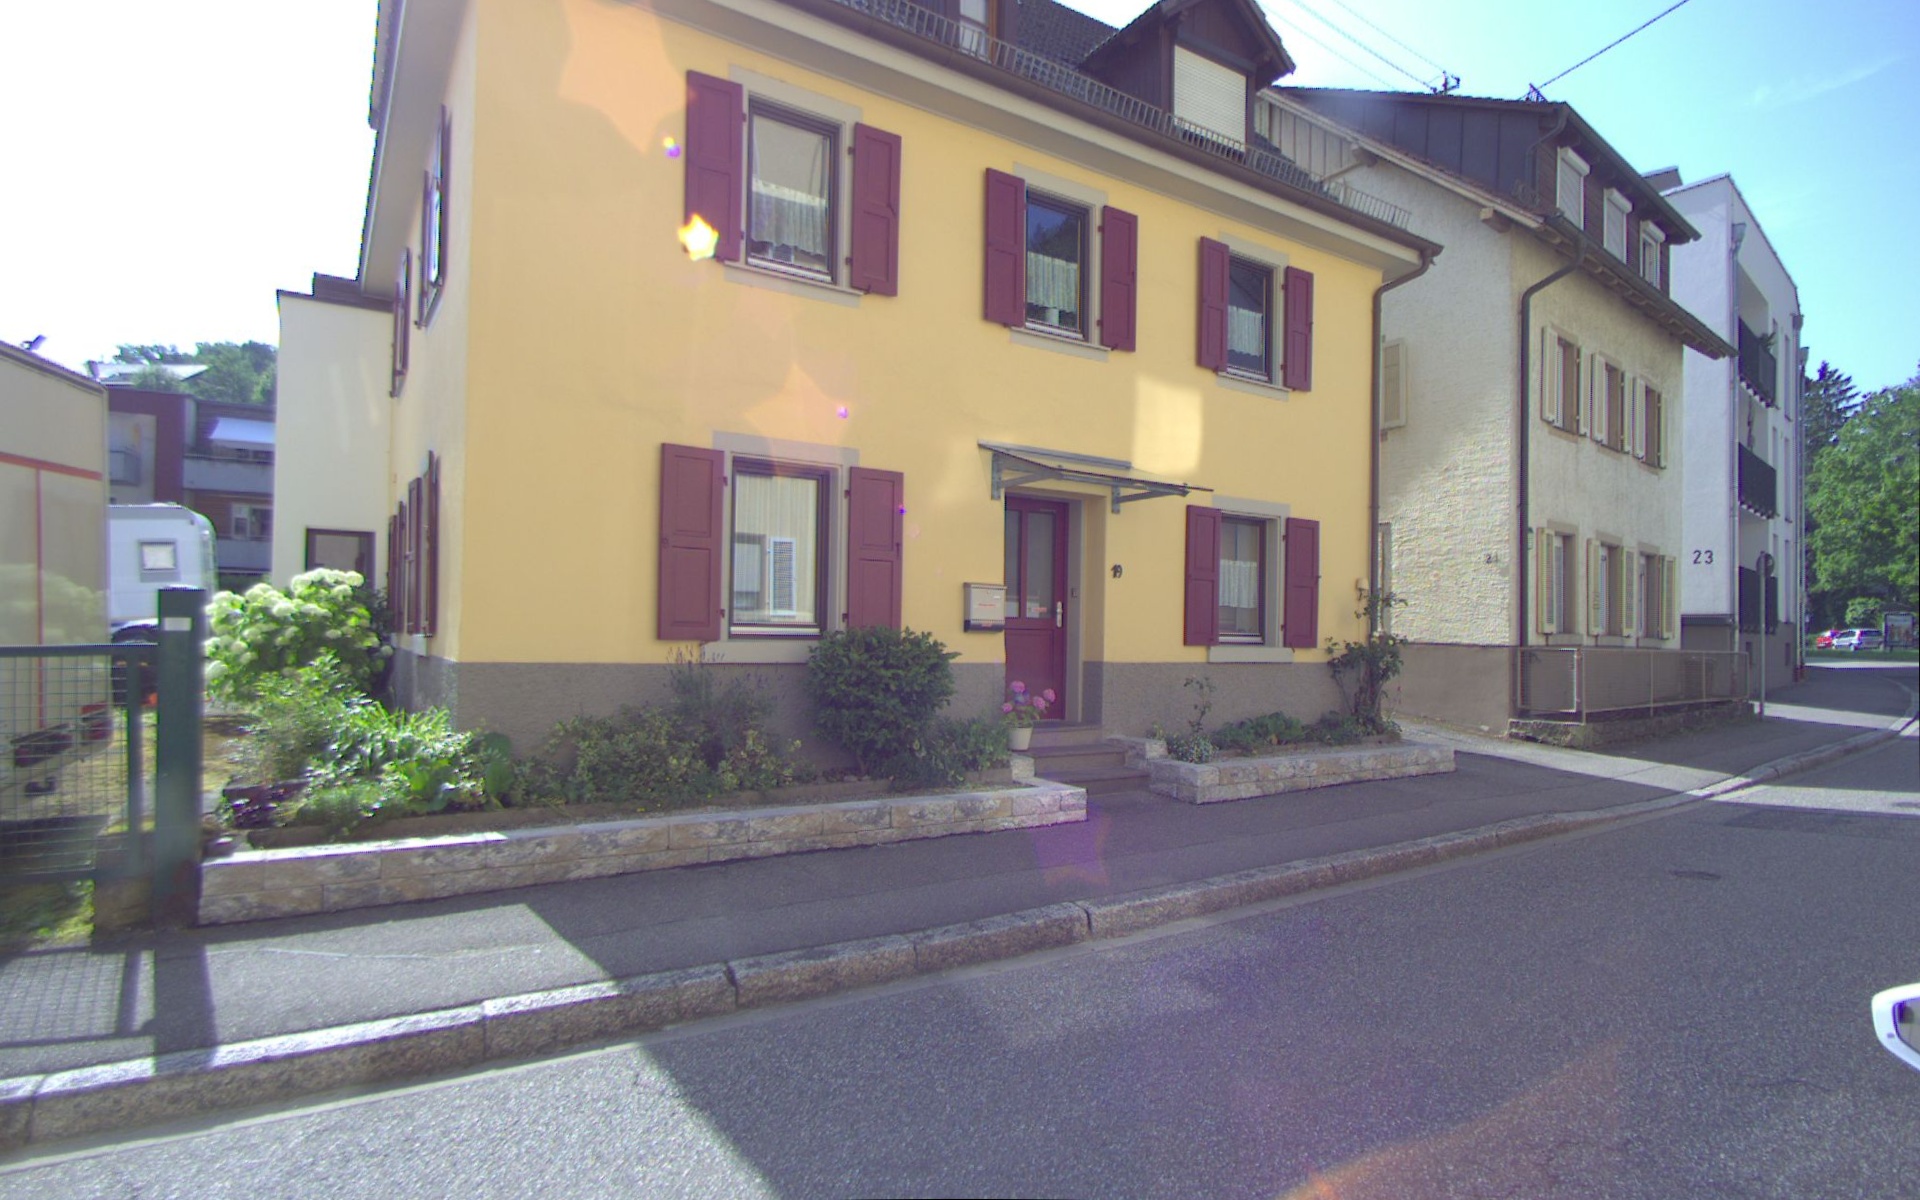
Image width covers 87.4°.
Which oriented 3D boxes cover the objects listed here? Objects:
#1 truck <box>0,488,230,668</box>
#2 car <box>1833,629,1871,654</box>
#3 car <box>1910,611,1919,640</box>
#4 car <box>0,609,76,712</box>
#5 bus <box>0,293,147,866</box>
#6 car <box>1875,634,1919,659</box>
[{"bbox_3d":[-17.036,-0.382,18.451,5.677,3.100,2.393,0,0,-32],"label":"truck"},{"bbox_3d":[58.850,2.702,66.322,1.723,1.572,3.736,-1,-2,39],"label":"car"},{"bbox_3d":[66.081,1.710,66.459,4.608,1.879,2.000,0,-1,0],"label":"car"},{"bbox_3d":[-14.308,0.787,13.015,3.944,1.286,1.590,0,1,-24],"label":"car"},{"bbox_3d":[-9.883,-0.195,4.731,8.908,3.271,2.813,1,1,-23],"label":"bus"},{"bbox_3d":[57.212,2.788,60.669,1.645,1.487,3.410,0,-2,20],"label":"car"}]
